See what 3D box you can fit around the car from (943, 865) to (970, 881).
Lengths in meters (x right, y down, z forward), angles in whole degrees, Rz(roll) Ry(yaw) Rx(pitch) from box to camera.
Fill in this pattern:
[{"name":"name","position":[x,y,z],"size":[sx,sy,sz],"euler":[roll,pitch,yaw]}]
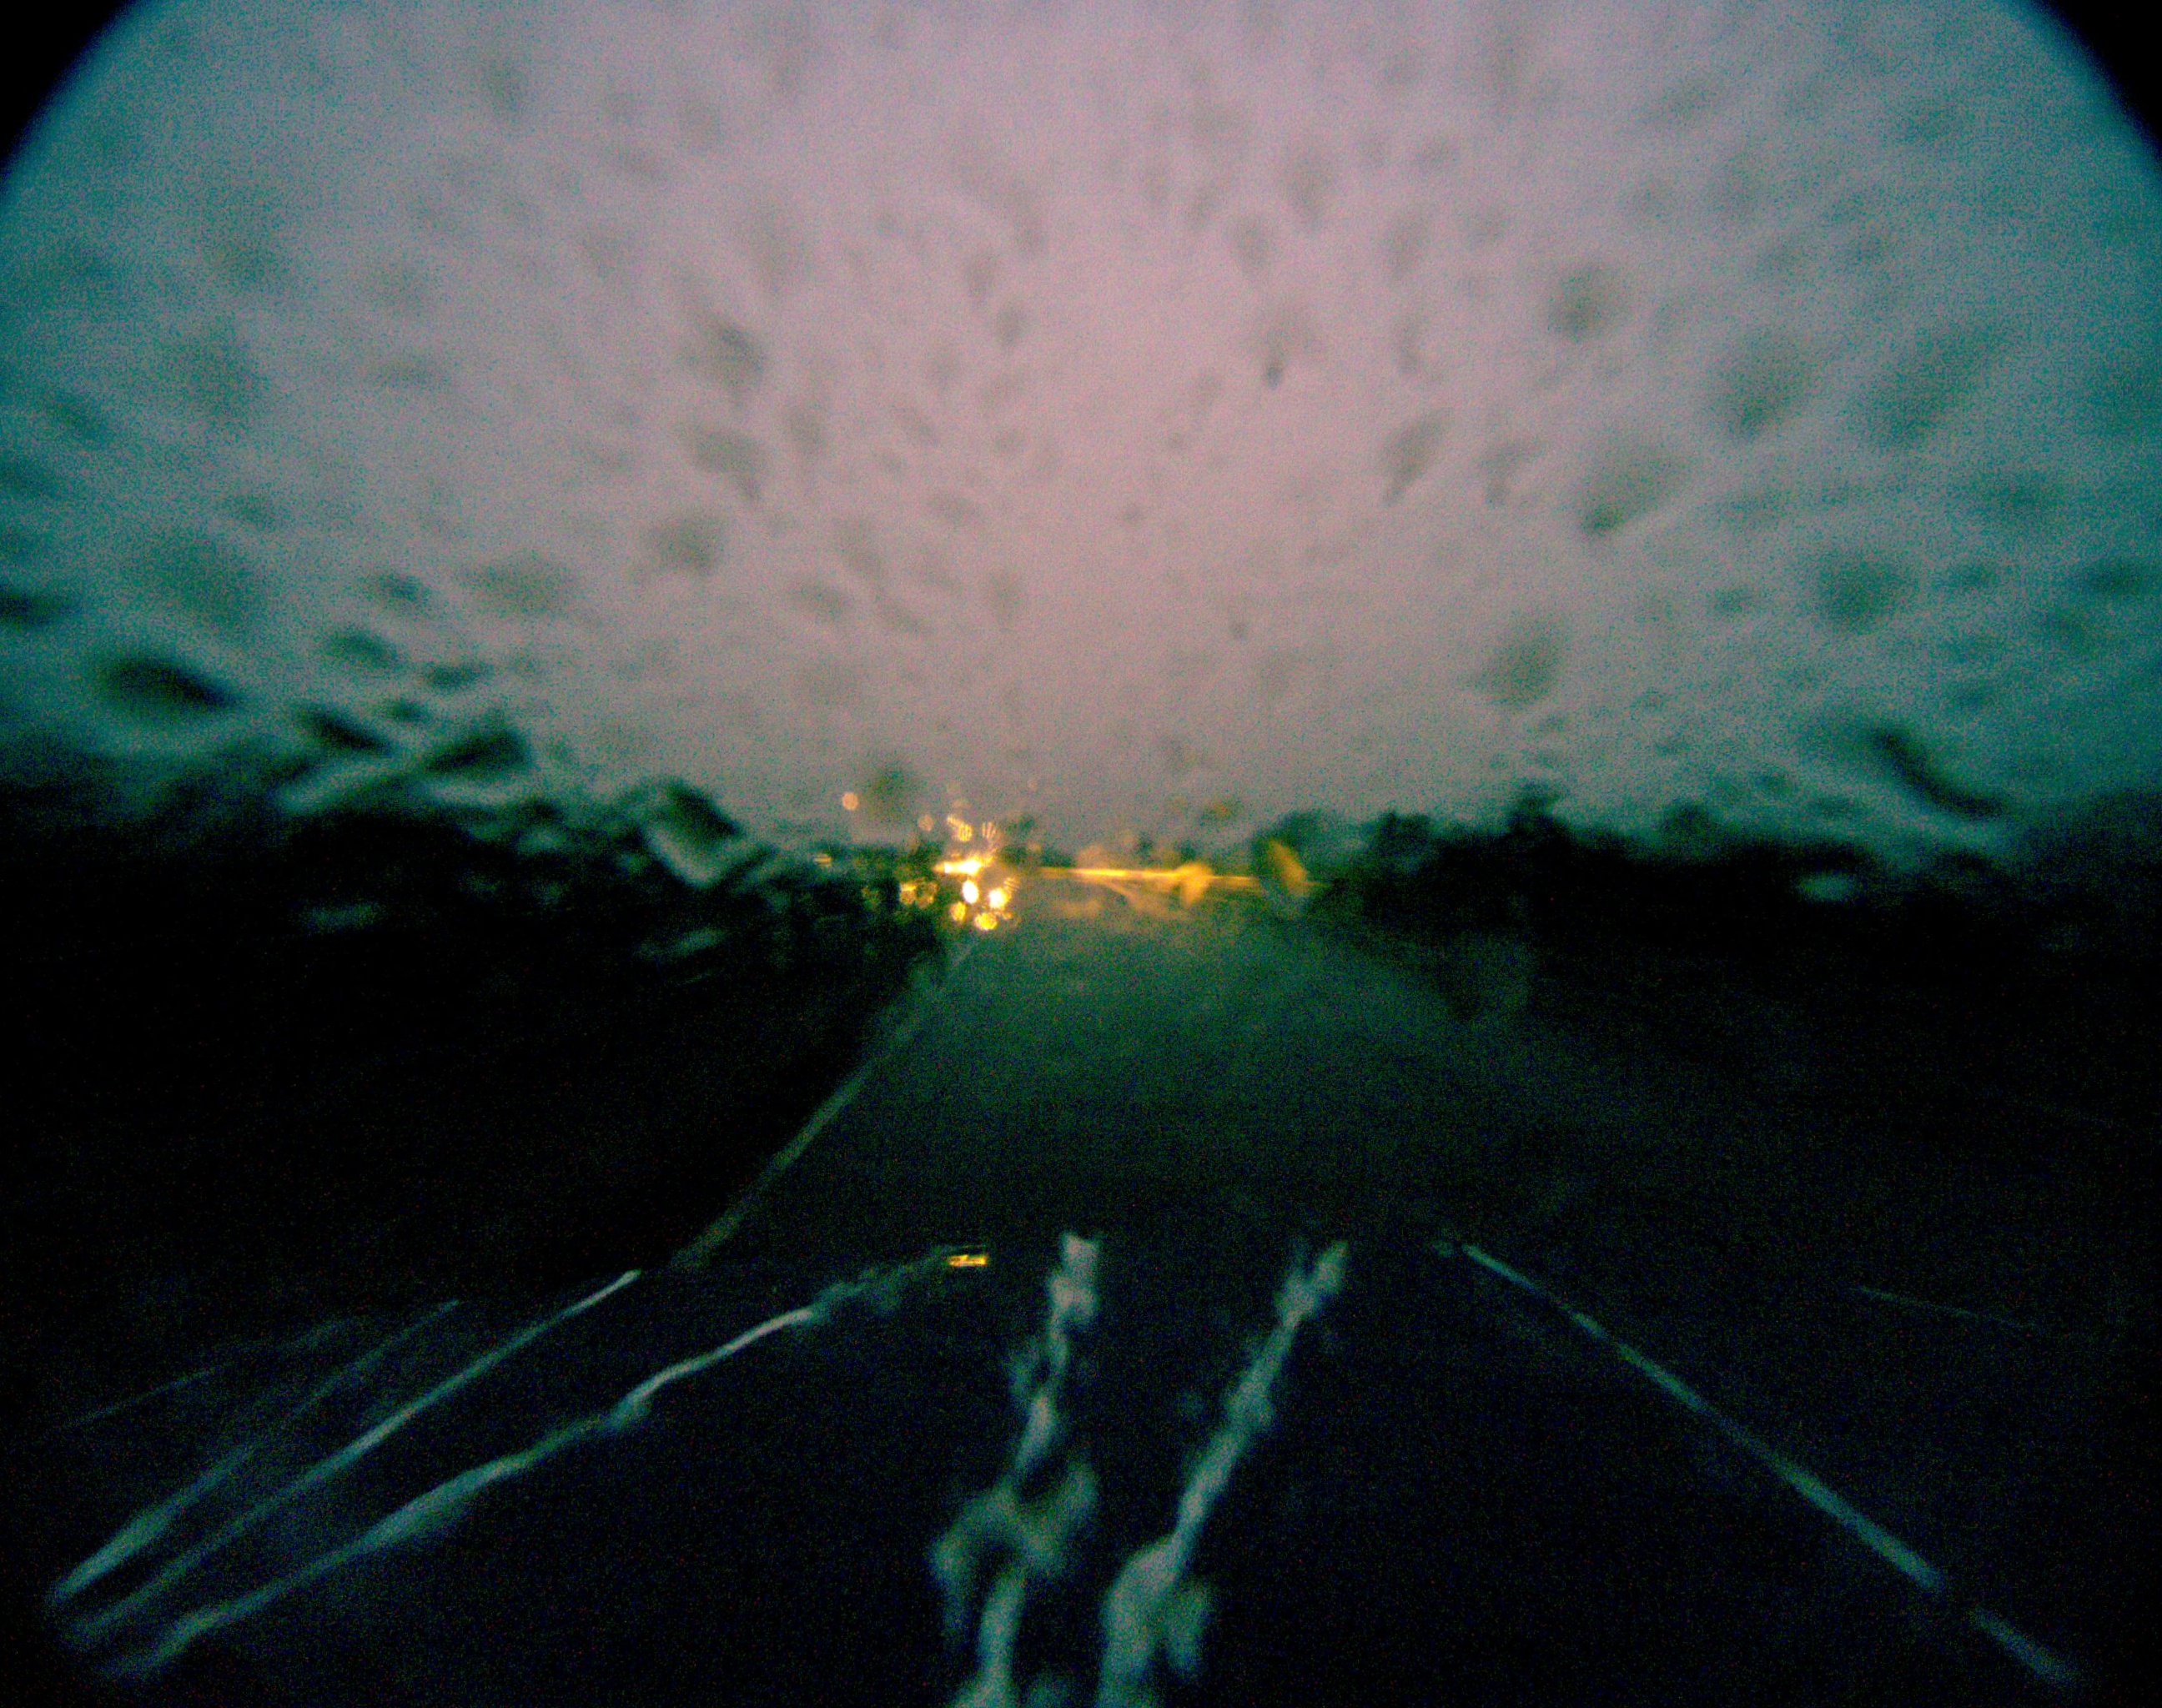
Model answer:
[{"name":"car","position":[-12.687,1.878,77.295],"size":[2.105,1.566,4.793],"euler":[1,-1,-17]}]

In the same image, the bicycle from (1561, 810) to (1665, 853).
[{"name":"bicycle","position":[26.834,-1.102,38.513],"size":[2.000,2.002,3.995],"euler":[-2,1,-12]}]
